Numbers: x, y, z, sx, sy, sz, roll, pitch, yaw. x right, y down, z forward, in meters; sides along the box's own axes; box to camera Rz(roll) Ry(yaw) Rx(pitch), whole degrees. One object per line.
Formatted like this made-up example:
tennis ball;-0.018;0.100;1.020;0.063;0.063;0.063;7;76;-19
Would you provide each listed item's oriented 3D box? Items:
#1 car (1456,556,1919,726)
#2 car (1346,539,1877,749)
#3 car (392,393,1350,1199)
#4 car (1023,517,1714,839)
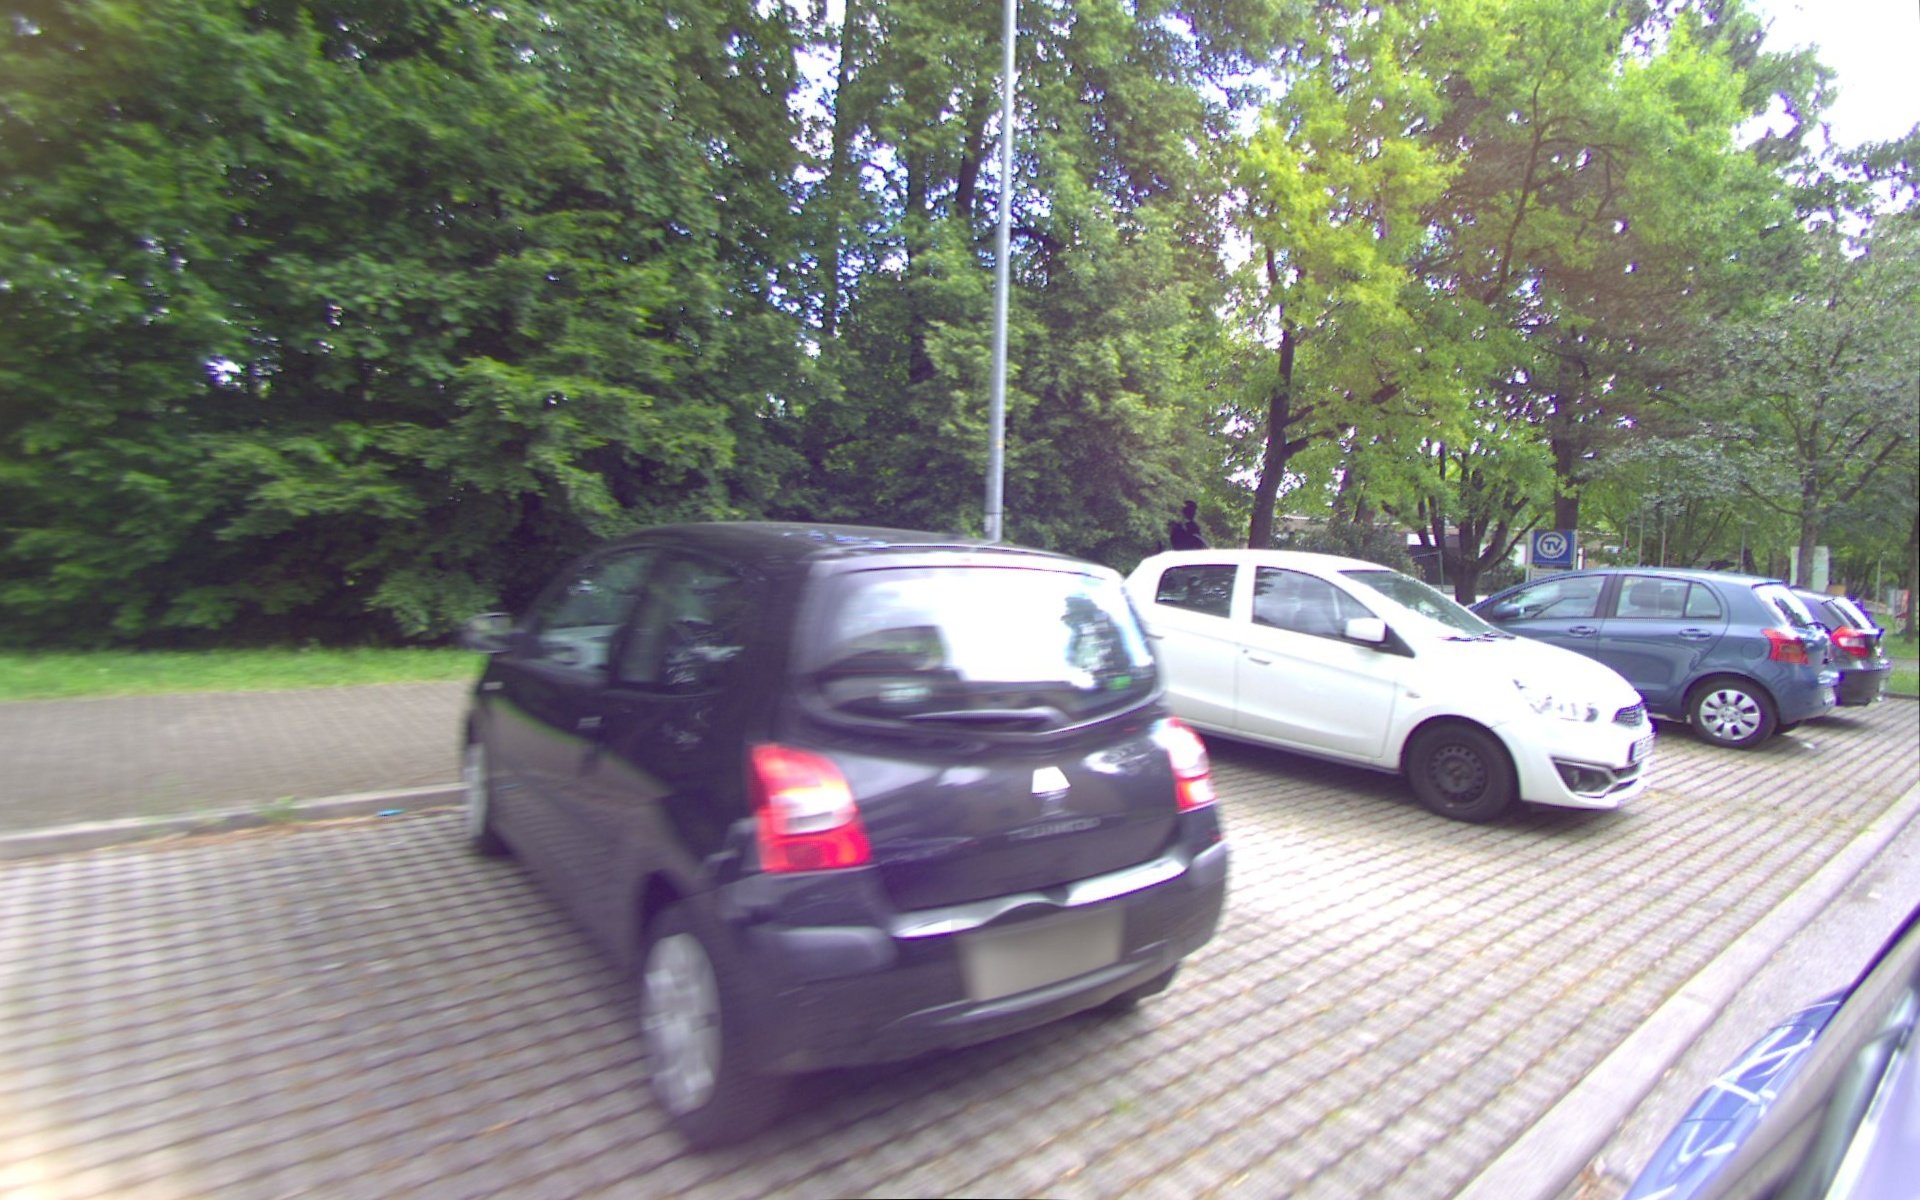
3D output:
car;8.273;0.319;11.769;1.755;1.481;4.095;-1;4;-41
car;6.313;0.255;10.220;1.755;1.589;4.144;-1;4;-41
car;-0.884;0.281;4.034;1.817;1.589;4.172;0;4;-38
car;2.586;0.260;7.194;1.756;1.589;4.164;-1;4;-43
